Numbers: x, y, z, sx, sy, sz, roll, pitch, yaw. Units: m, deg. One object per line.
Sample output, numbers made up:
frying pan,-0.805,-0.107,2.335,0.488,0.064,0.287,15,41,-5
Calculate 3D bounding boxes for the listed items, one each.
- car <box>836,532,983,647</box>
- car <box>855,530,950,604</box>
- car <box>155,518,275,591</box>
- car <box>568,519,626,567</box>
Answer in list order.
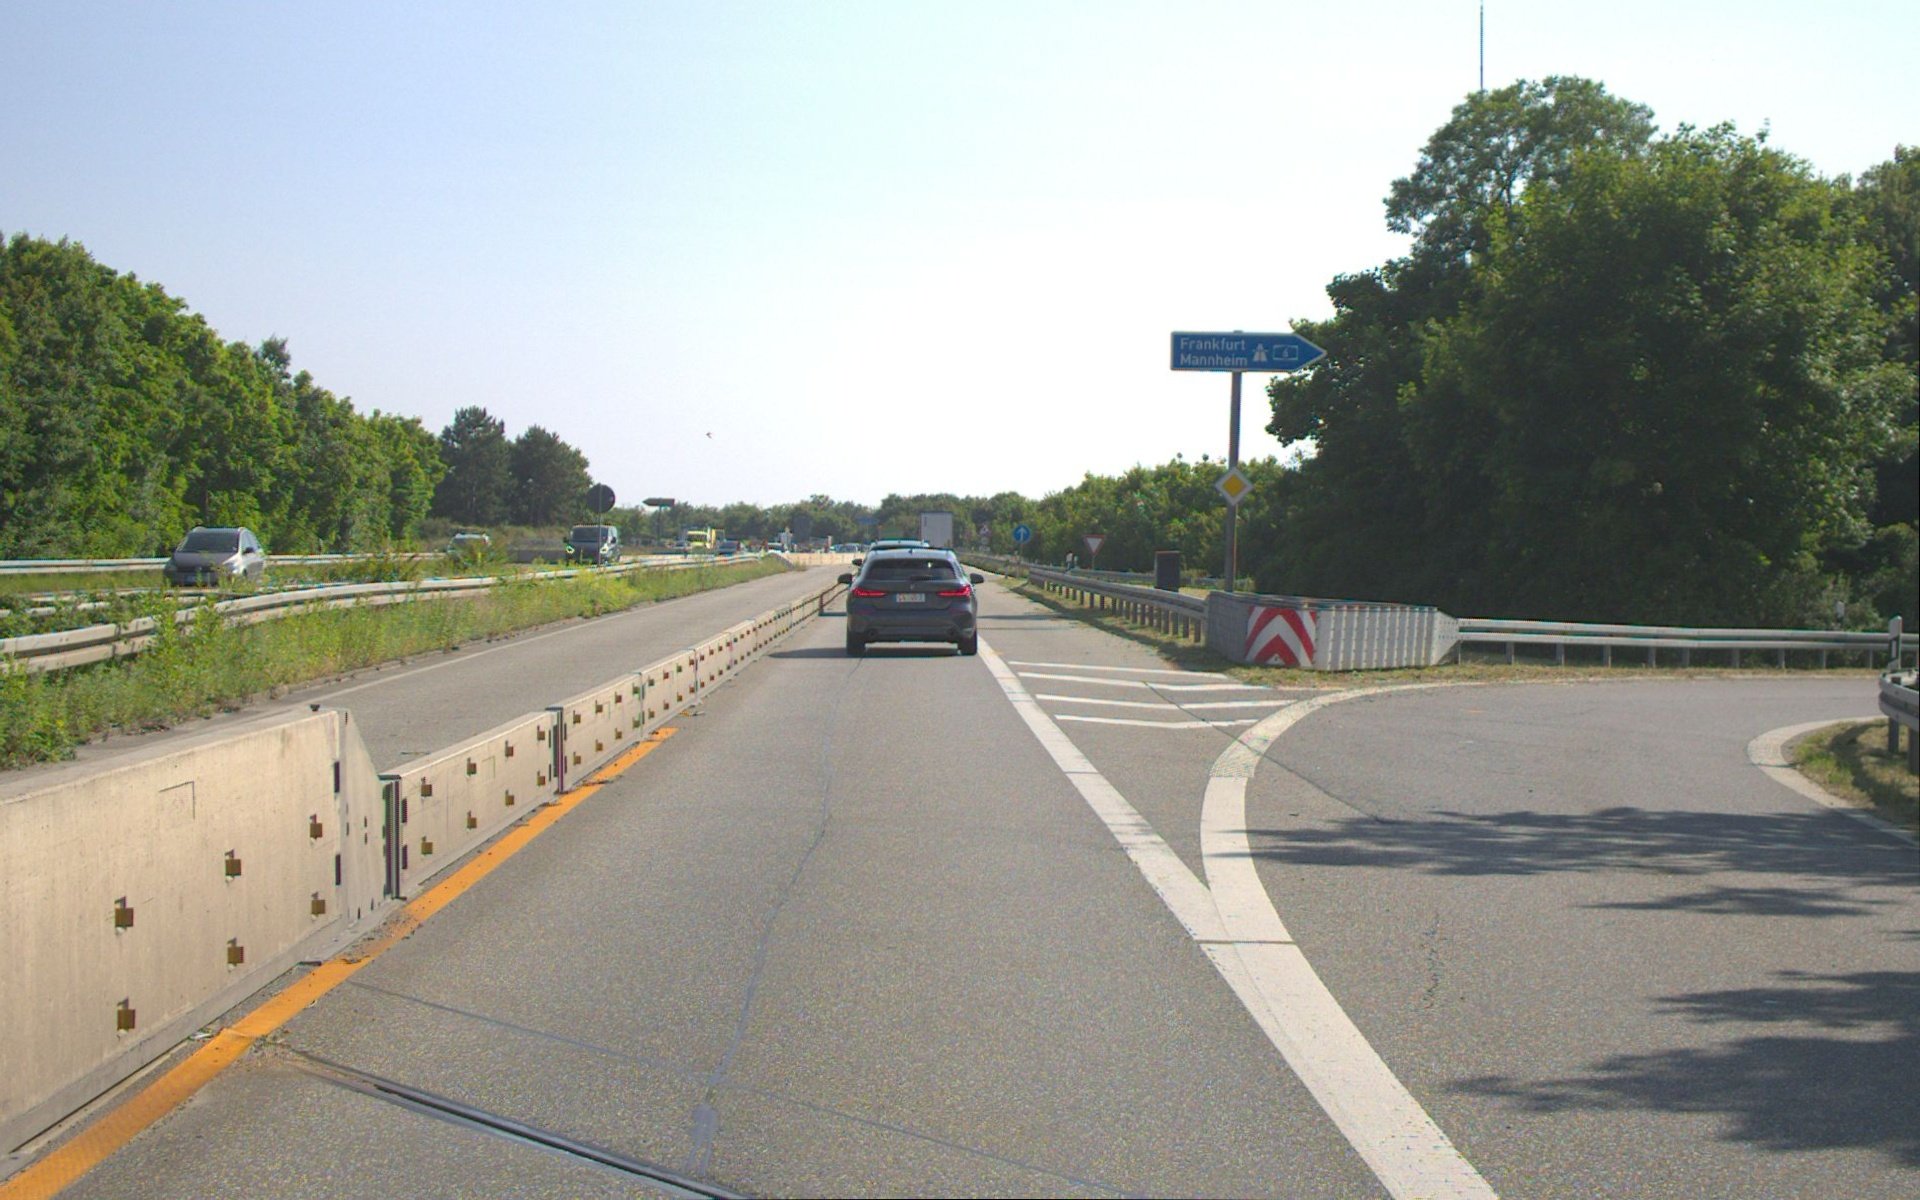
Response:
car,-0.746,-0.176,47.897,1.920,1.488,4.001,1,1,-2
car,-1.234,-0.736,74.926,1.993,1.561,4.000,0,1,0
car,-16.597,-1.046,76.810,1.763,1.577,4.423,0,1,-1
car,-15.595,-2.478,147.951,1.993,2.027,5.169,0,1,-1
